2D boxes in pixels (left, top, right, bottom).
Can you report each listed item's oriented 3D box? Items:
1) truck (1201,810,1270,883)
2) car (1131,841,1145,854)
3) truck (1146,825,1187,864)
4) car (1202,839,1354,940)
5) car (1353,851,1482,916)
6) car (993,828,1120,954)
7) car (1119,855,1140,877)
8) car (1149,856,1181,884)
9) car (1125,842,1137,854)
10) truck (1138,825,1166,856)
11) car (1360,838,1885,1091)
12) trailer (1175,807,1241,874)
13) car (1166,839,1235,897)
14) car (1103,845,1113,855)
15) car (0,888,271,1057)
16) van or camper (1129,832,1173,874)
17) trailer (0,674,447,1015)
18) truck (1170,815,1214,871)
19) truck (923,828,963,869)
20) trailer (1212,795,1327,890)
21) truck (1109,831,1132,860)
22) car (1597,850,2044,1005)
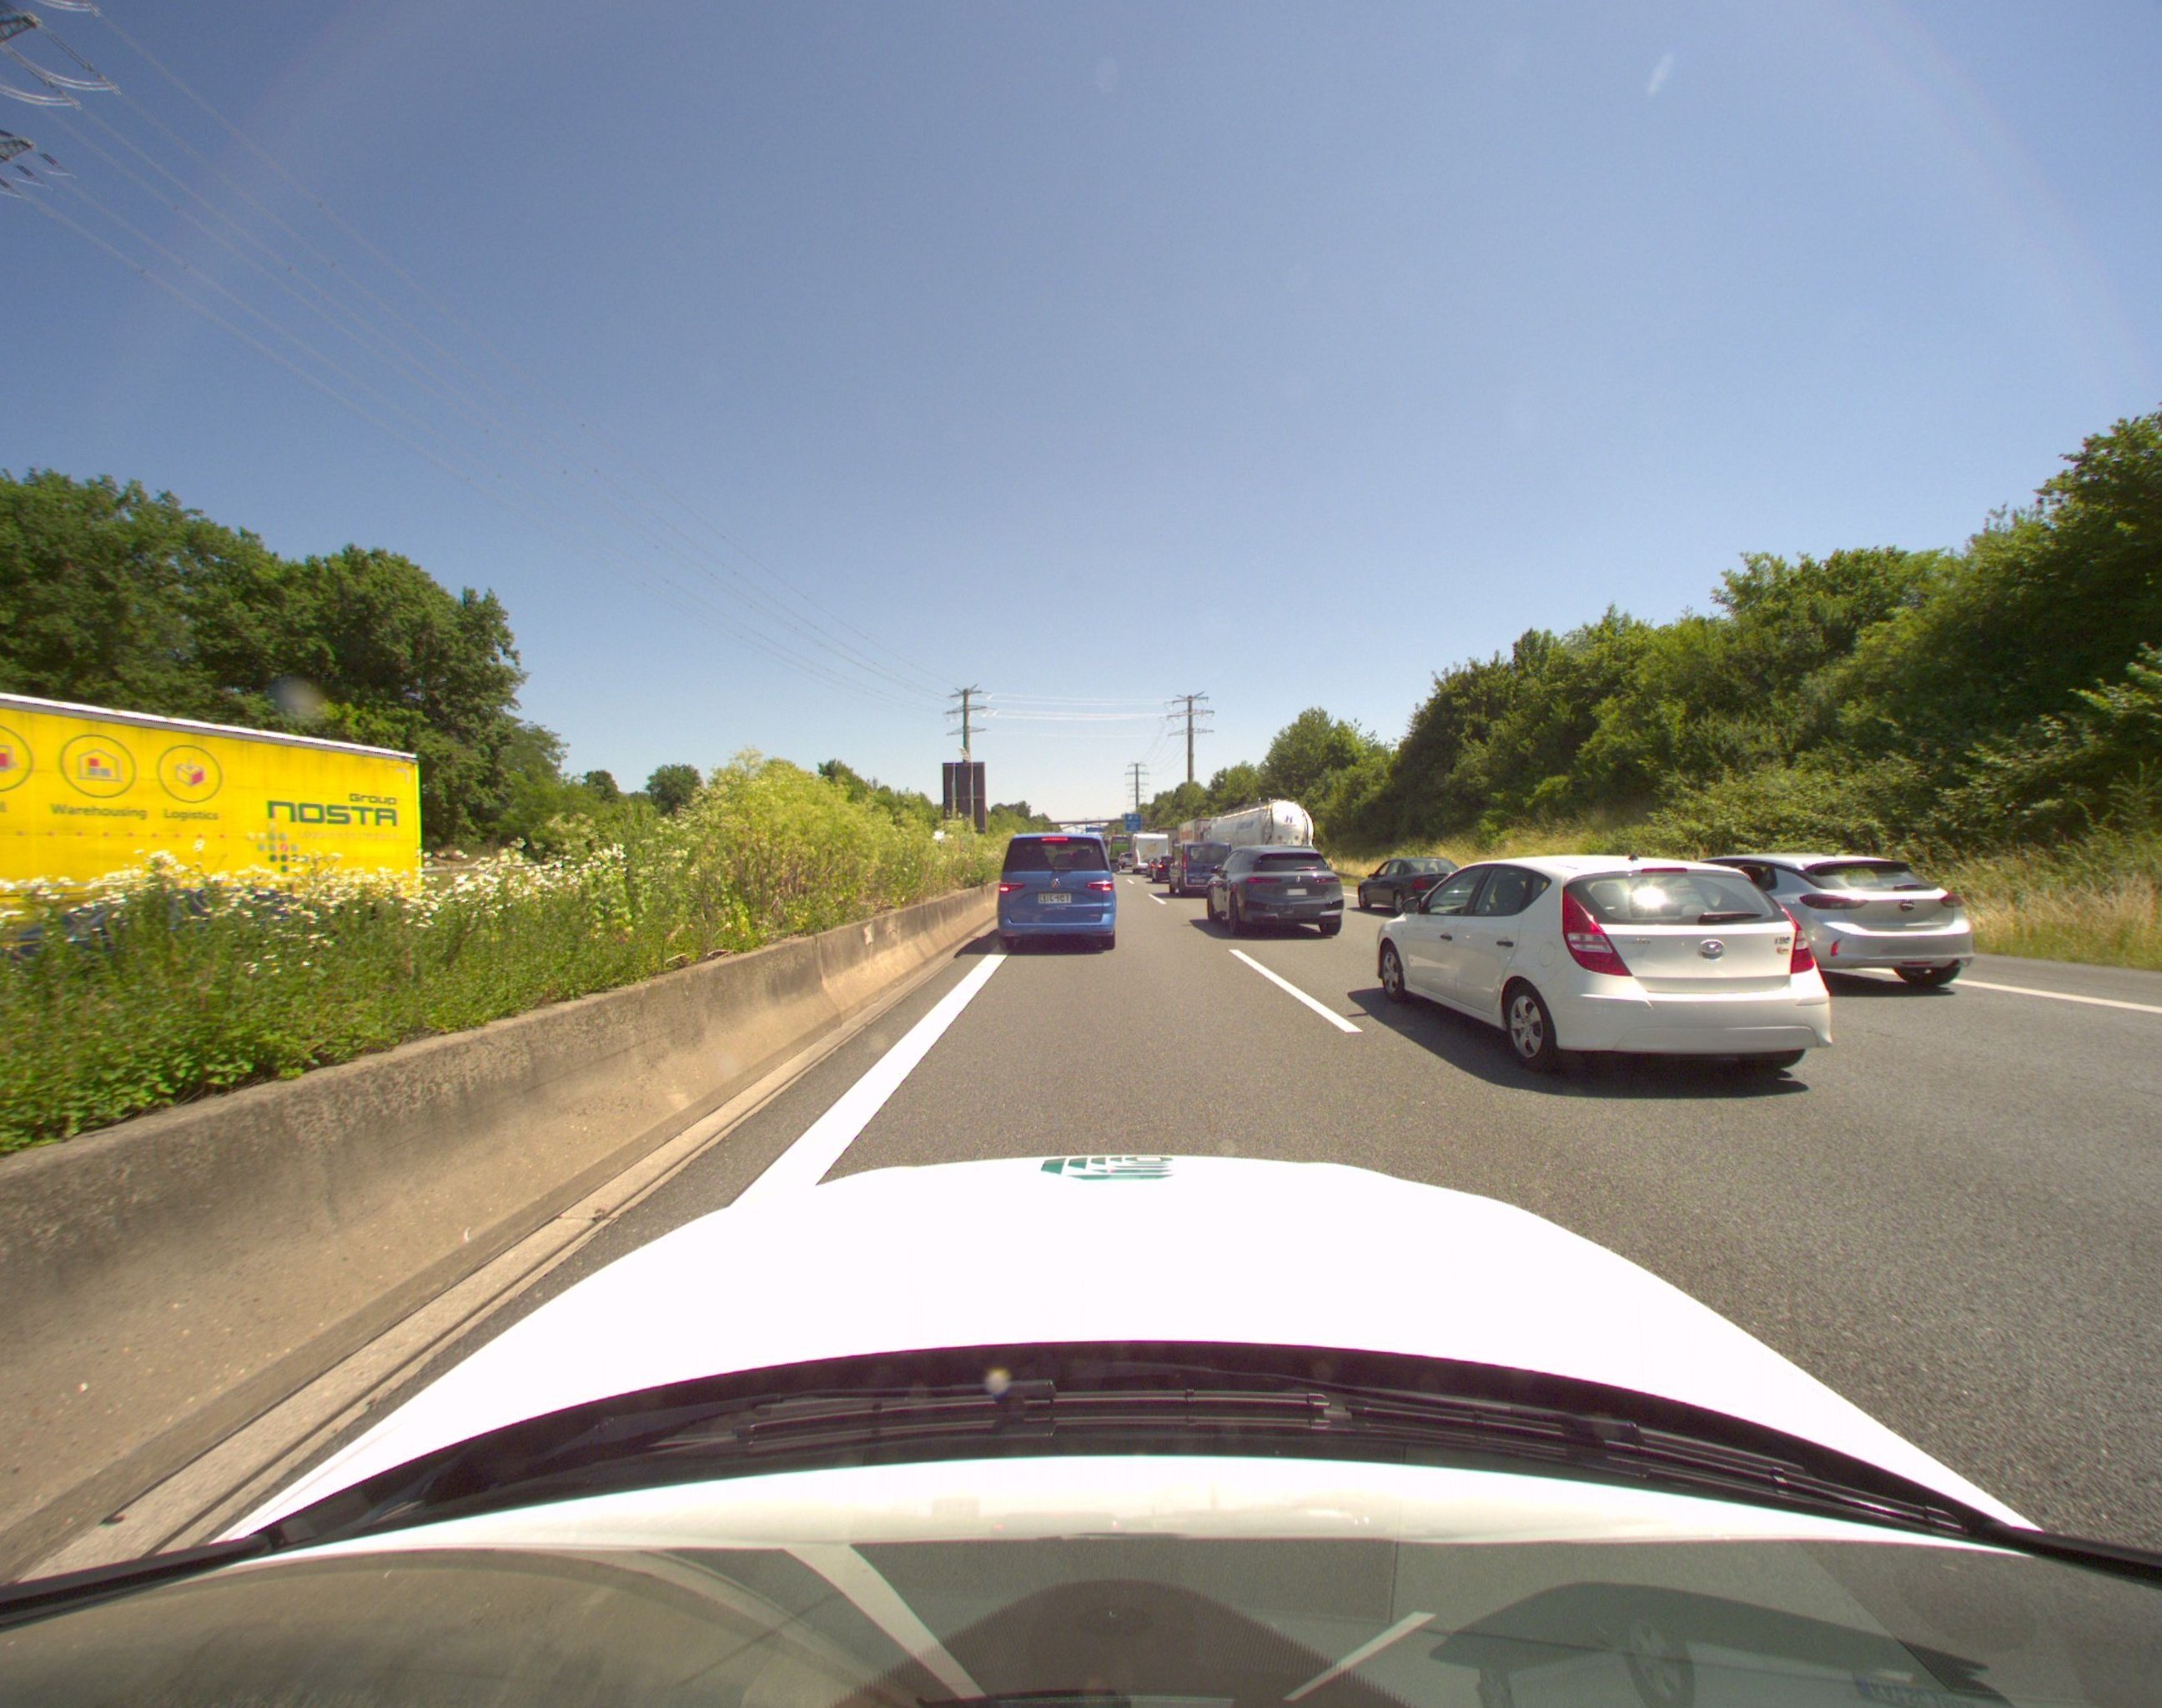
[{"bbox_3d":[8.652,-0.413,46.243,2.784,3.836,5.571,-1,0,0],"label":"truck"},{"bbox_3d":[9.301,-1.115,133.790,1.987,2.014,4.000,-1,-1,0],"label":"car"},{"bbox_3d":[9.011,-0.849,87.747,2.995,3.766,15.715,-1,-1,1],"label":"truck"},{"bbox_3d":[3.768,0.645,16.484,1.992,1.715,4.625,-1,-1,1],"label":"car"},{"bbox_3d":[8.337,0.703,20.573,1.635,1.416,3.989,-2,-1,1],"label":"car"},{"bbox_3d":[-0.352,0.553,14.304,1.914,1.886,4.000,0,0,0],"label":"car"},{"bbox_3d":[4.624,1.176,77.781,1.829,1.998,4.001,-2,-1,2],"label":"car"},{"bbox_3d":[4.495,0.855,43.831,1.356,1.420,3.885,-2,-1,1],"label":"car"},{"bbox_3d":[8.793,-1.024,143.466,1.987,2.014,4.000,-1,-1,0],"label":"car"},{"bbox_3d":[9.504,-1.674,109.920,2.885,3.766,13.347,-1,-1,1],"label":"truck"},{"bbox_3d":[3.944,0.693,6.906,1.810,1.485,4.000,-1,-1,1],"label":"car"},{"bbox_3d":[9.262,-0.902,60.971,2.903,4.469,12.151,-1,0,0],"label":"trailer"},{"bbox_3d":[4.330,0.526,30.171,1.917,1.925,4.236,-2,-1,1],"label":"car"},{"bbox_3d":[6.044,-0.951,180.362,1.987,2.126,3.999,-1,-1,0],"label":"car"},{"bbox_3d":[-11.040,1.170,8.088,1.863,1.465,4.099,0,0,0],"label":"car"},{"bbox_3d":[5.311,-0.027,62.546,2.946,3.022,7.105,-1,-1,2],"label":"van or camper"},{"bbox_3d":[-14.736,-0.098,11.633,2.812,4.207,10.685,0,-1,1],"label":"trailer"},{"bbox_3d":[9.227,-0.854,68.262,2.903,4.469,5.141,-1,0,0],"label":"truck"},{"bbox_3d":[-14.782,-0.552,87.599,3.001,4.228,6.687,-1,-1,1],"label":"truck"},{"bbox_3d":[8.664,-0.439,39.175,2.752,3.845,11.483,-1,0,0],"label":"trailer"},{"bbox_3d":[5.294,-1.018,111.412,2.885,3.766,10.142,-1,-1,1],"label":"truck"},{"bbox_3d":[8.360,0.691,9.810,1.725,1.443,4.028,-1,0,0],"label":"car"}]
